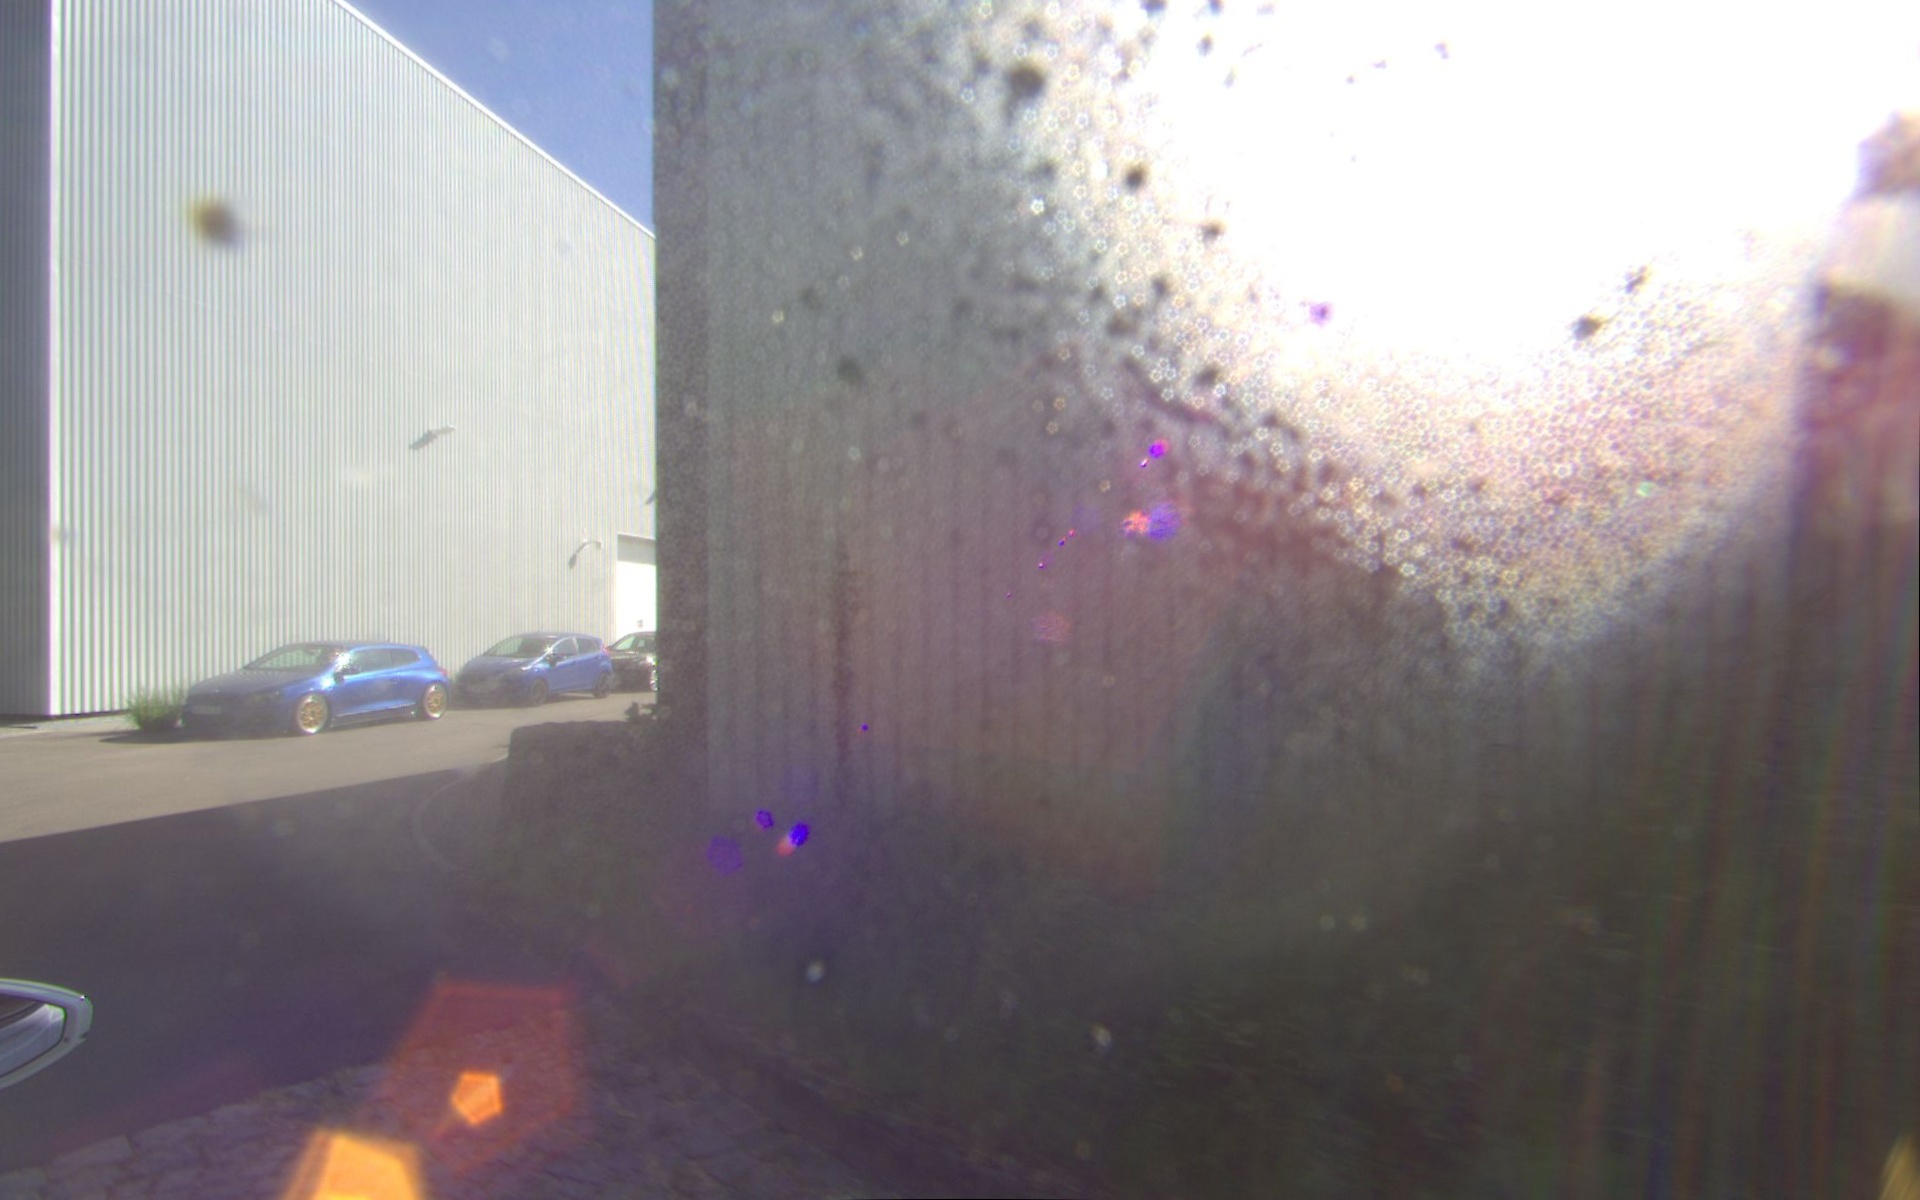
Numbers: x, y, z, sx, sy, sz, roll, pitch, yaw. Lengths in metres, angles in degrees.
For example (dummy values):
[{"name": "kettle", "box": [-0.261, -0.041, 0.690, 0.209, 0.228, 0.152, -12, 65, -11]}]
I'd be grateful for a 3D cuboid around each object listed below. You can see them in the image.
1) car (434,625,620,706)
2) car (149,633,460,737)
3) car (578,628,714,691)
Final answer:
[{"name": "car", "box": [-9.102, 1.330, 21.414, 1.722, 1.492, 3.897, 2, -1, 11]}, {"name": "car", "box": [-10.146, 1.243, 15.956, 1.722, 1.402, 4.168, 0, -2, 11]}, {"name": "car", "box": [-8.091, 1.490, 26.199, 1.722, 1.436, 3.897, 2, -1, 11]}]
